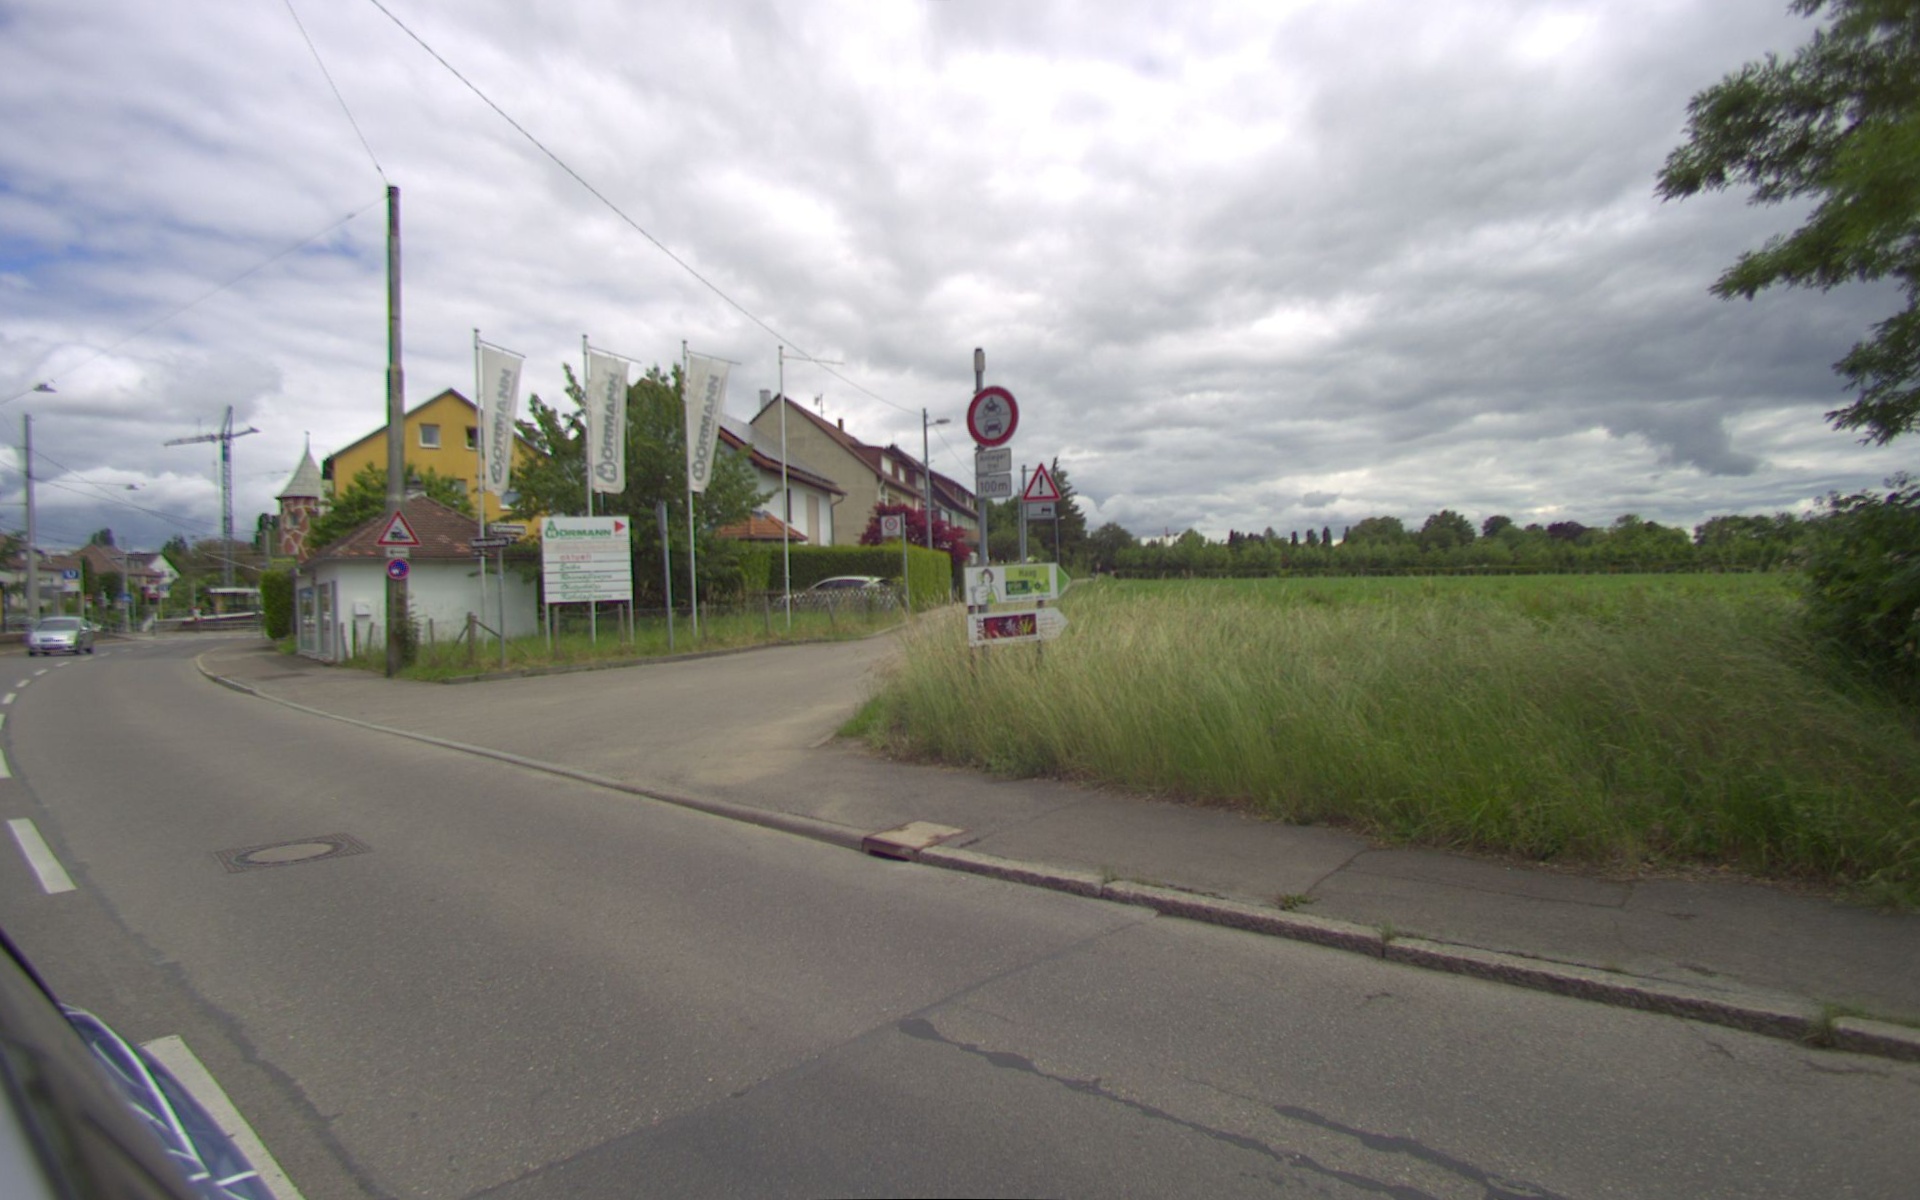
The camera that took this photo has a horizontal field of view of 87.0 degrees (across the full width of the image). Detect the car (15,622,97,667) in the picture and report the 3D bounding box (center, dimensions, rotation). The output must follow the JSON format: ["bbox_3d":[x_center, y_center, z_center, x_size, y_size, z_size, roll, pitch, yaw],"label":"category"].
[{"bbox_3d":[-37.918,1.830,42.565,1.706,1.661,4.239,-2,0,-30],"label":"car"}]

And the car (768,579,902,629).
[{"bbox_3d":[-4.120,0.125,33.634,3.962,1.545,1.991,-1,1,15],"label":"car"}]

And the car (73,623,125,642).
[{"bbox_3d":[-73.965,2.775,86.925,4.200,1.474,1.721,-2,0,24],"label":"car"}]

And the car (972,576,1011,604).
[{"bbox_3d":[1.899,-0.587,59.756,1.975,1.493,3.994,-2,1,5],"label":"car"}]
